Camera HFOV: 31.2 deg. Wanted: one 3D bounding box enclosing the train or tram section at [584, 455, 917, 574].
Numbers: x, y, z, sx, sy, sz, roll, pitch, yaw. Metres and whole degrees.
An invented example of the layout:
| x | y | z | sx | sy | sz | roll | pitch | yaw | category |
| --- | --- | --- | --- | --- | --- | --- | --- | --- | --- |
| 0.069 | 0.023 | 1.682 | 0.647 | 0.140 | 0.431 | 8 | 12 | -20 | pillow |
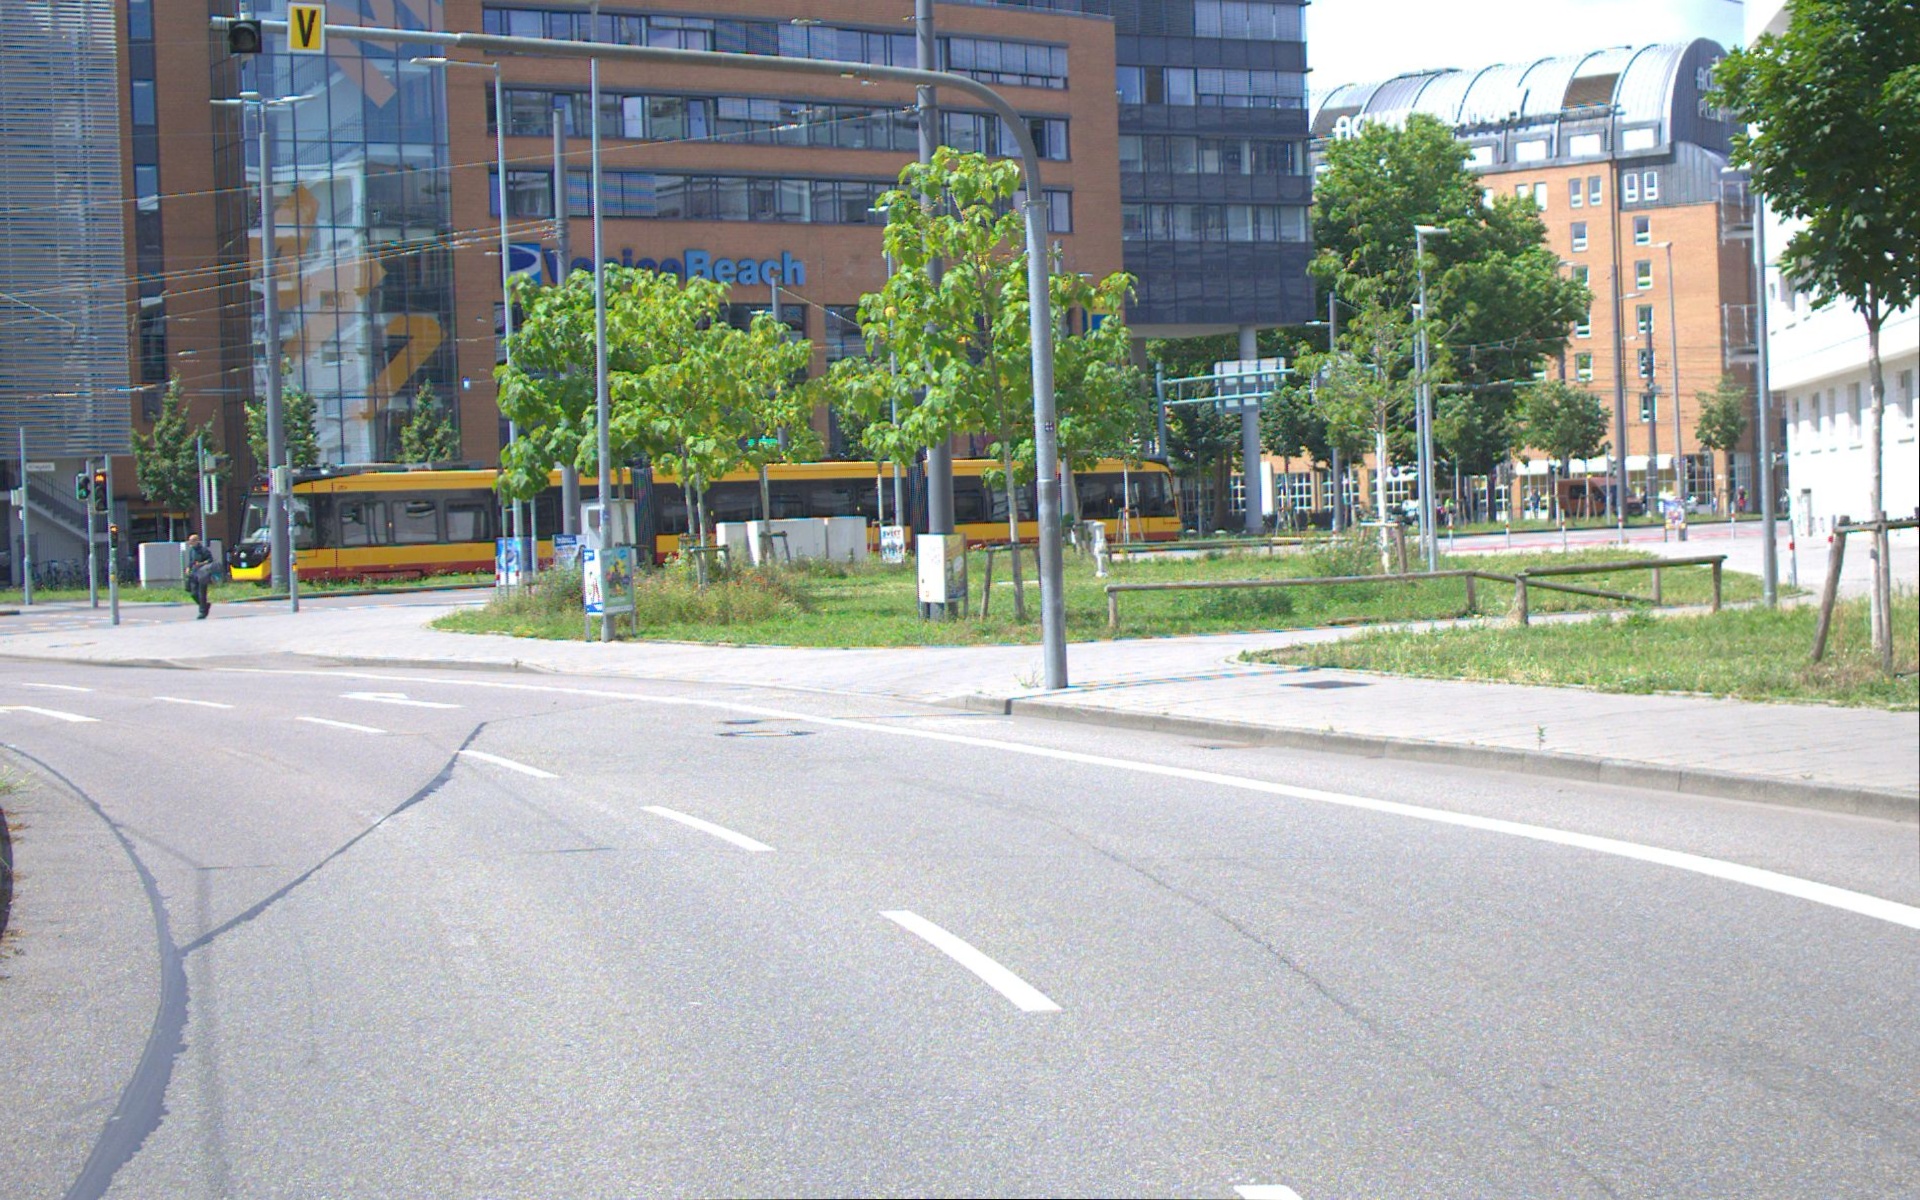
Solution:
| x | y | z | sx | sy | sz | roll | pitch | yaw | category |
| --- | --- | --- | --- | --- | --- | --- | --- | --- | --- |
| -6.517 | -2.739 | 108.995 | 10.962 | 3.591 | 3.064 | -2 | 1 | -42 | train or tram section |

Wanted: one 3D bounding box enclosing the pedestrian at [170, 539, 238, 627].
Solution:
| x | y | z | sx | sy | sz | roll | pitch | yaw | category |
| --- | --- | --- | --- | --- | --- | --- | --- | --- | --- |
| -15.006 | -0.339 | 68.247 | 0.917 | 1.696 | 0.807 | -2 | 2 | 31 | pedestrian |

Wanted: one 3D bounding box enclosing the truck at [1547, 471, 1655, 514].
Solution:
| x | y | z | sx | sy | sz | roll | pitch | yaw | category |
| --- | --- | --- | --- | --- | --- | --- | --- | --- | --- |
| 32.437 | -5.424 | 174.152 | 1.994 | 2.078 | 5.522 | -2 | 1 | -35 | truck |

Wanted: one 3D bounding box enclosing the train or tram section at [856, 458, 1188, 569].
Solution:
| x | y | z | sx | sy | sz | roll | pitch | yaw | category |
| --- | --- | --- | --- | --- | --- | --- | --- | --- | --- |
| 2.272 | -2.971 | 117.151 | 12.601 | 3.608 | 3.063 | -2 | 1 | -42 | train or tram section |

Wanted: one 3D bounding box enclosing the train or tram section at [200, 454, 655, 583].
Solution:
| x | y | z | sx | sy | sz | roll | pitch | yaw | category |
| --- | --- | --- | --- | --- | --- | --- | --- | --- | --- |
| -15.451 | -2.436 | 101.130 | 13.461 | 3.587 | 3.225 | -2 | 1 | -40 | train or tram section |
